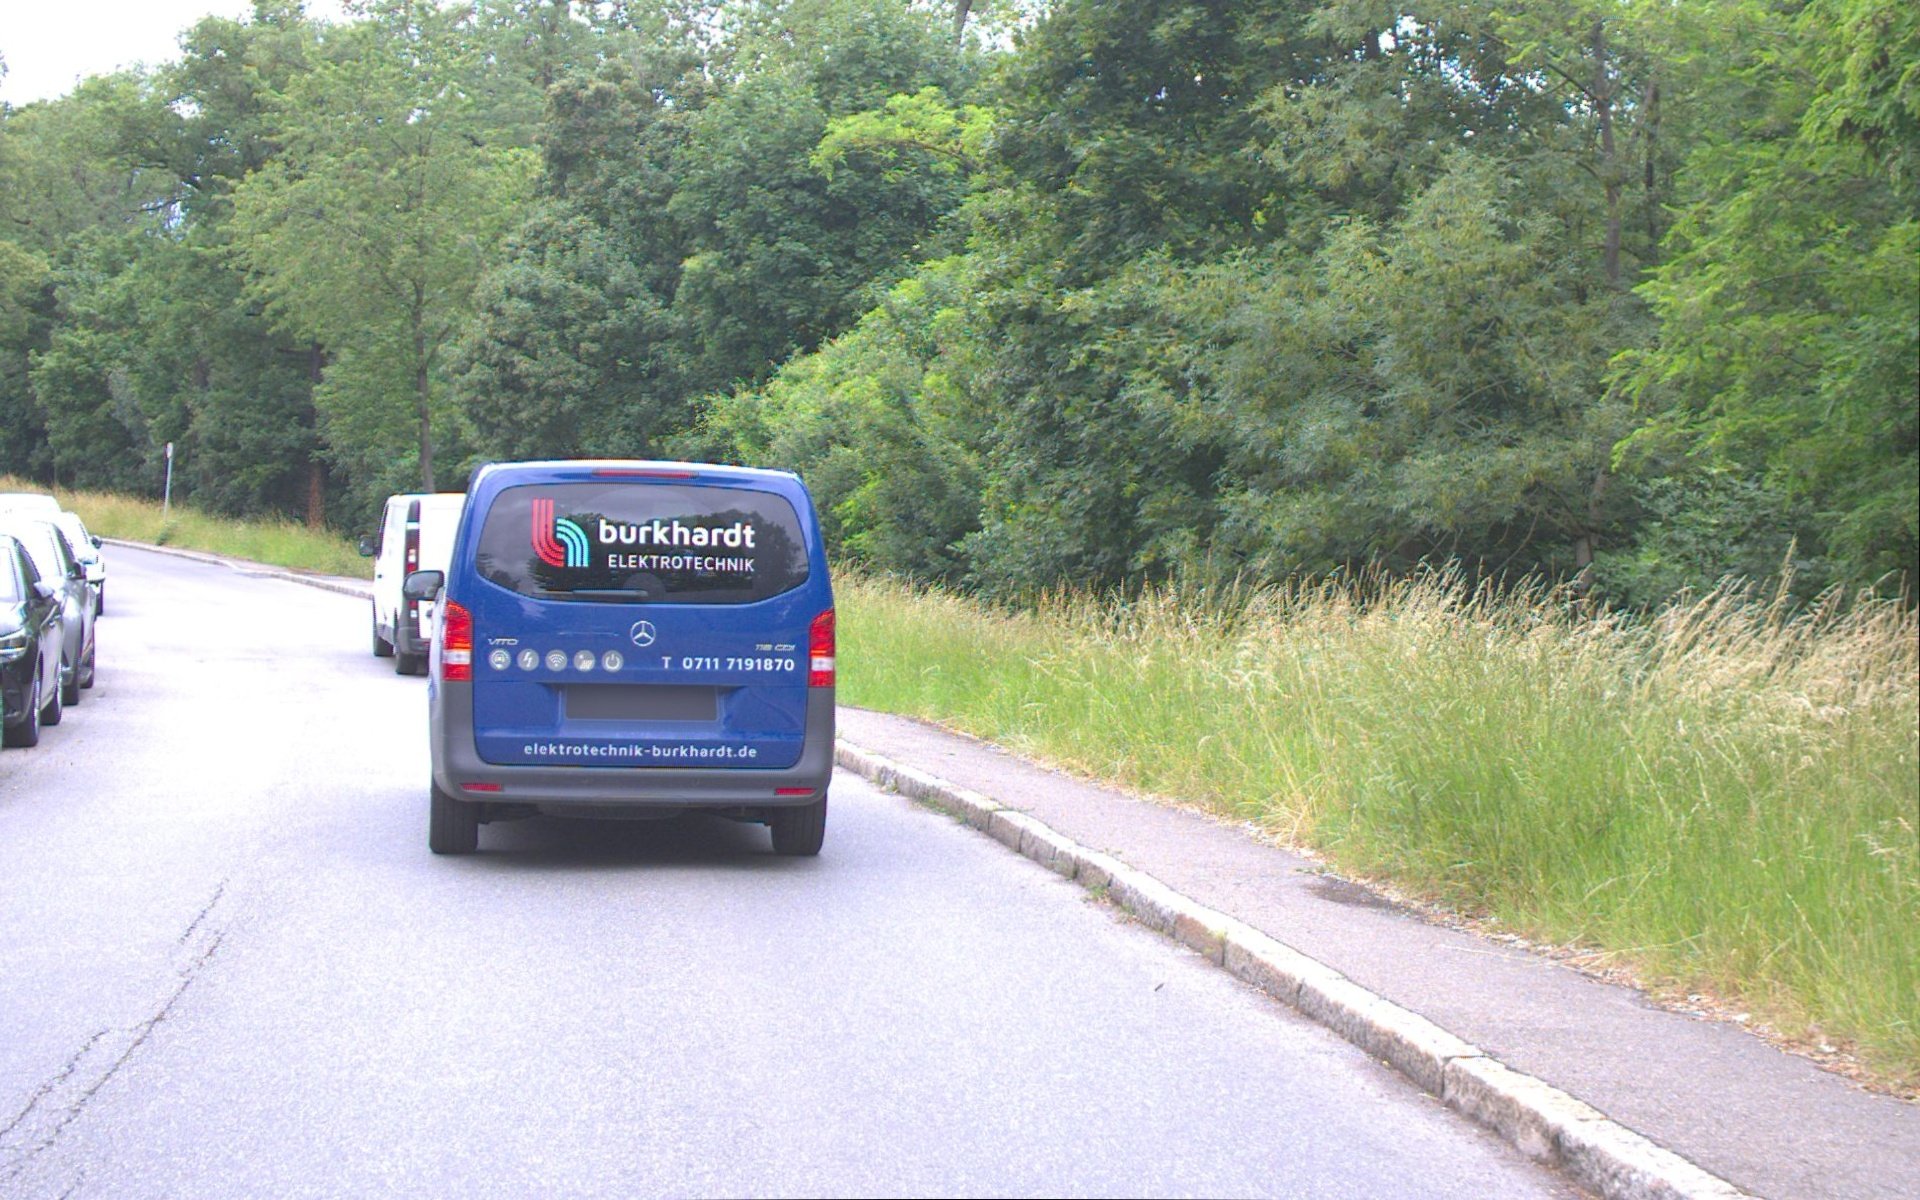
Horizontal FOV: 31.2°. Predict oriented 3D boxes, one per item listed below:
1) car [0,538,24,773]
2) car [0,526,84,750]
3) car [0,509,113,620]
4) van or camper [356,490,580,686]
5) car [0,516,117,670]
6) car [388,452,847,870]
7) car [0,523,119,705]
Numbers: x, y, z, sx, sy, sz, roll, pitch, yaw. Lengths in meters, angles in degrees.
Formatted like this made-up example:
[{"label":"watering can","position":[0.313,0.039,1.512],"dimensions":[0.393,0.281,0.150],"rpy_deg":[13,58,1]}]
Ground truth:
[{"label":"car","position":[-6.467,0.348,19.634],"dimensions":[1.734,1.413,4.505],"rpy_deg":[1,1,-10]},{"label":"car","position":[-7.248,0.187,24.526],"dimensions":[1.649,1.436,4.334],"rpy_deg":[2,1,-11]},{"label":"car","position":[-13.845,-0.579,51.839],"dimensions":[1.724,1.487,4.415],"rpy_deg":[4,0,-17]},{"label":"van or camper","position":[-5.509,-0.191,37.980],"dimensions":[2.019,1.950,4.898],"rpy_deg":[2,1,-12]},{"label":"car","position":[-9.567,-0.119,35.424],"dimensions":[1.622,1.475,3.929],"rpy_deg":[1,1,-15]},{"label":"car","position":[-1.862,0.283,17.406],"dimensions":[1.913,1.831,4.295],"rpy_deg":[1,0,-11]},{"label":"car","position":[-8.466,0.065,30.480],"dimensions":[1.761,1.475,4.129],"rpy_deg":[1,1,-11]}]
